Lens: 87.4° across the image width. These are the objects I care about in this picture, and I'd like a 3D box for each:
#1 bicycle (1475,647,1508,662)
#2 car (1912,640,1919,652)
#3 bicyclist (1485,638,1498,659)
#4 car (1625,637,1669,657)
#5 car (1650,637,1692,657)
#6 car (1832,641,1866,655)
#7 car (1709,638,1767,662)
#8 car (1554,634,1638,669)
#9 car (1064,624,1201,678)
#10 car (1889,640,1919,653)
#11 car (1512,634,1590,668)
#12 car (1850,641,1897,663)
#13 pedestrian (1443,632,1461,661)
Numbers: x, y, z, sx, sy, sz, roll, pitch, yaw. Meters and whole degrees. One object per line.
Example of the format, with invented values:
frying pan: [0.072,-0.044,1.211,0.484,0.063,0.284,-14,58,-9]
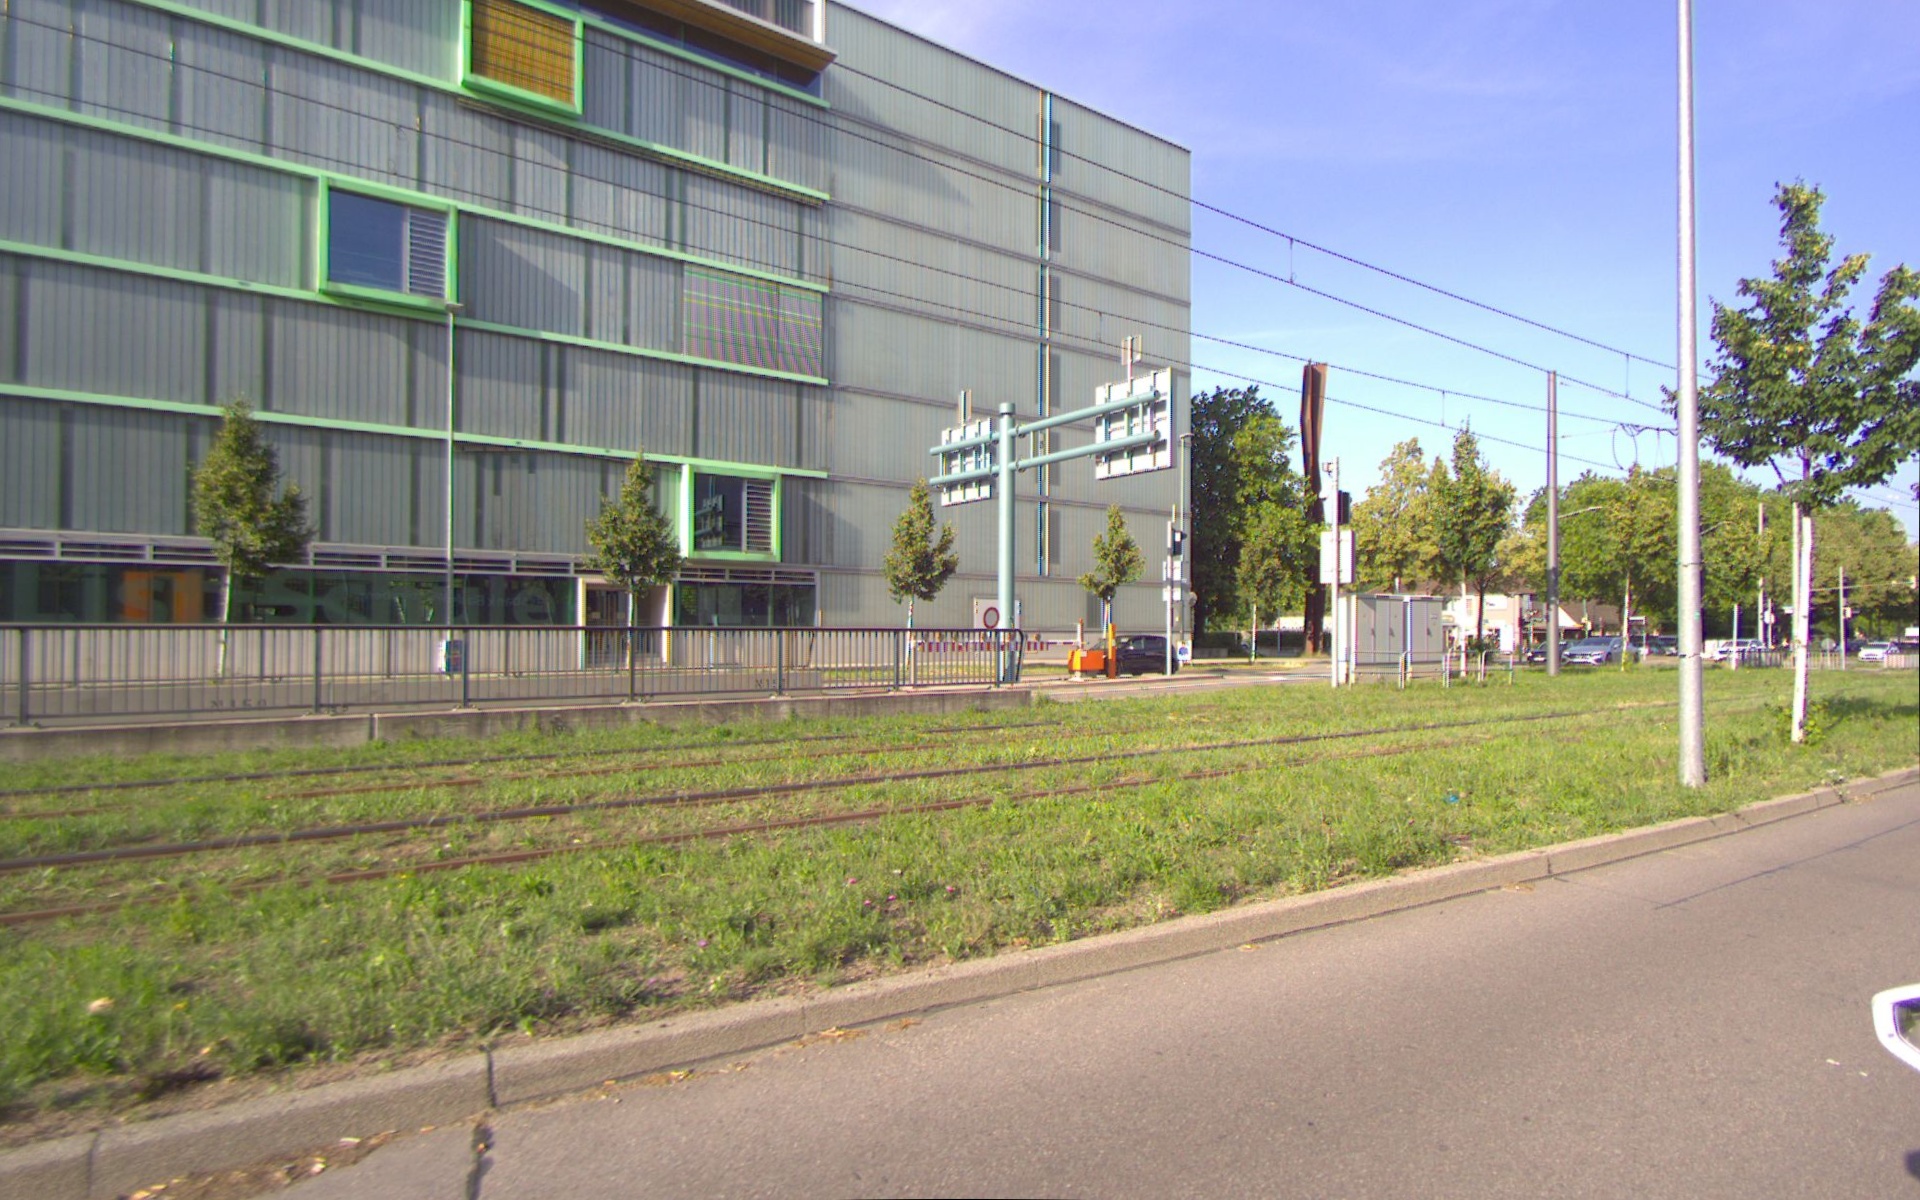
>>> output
bicycle: [39.914,4.081,75.440,2.164,1.055,0.698,0,-2,33]
car: [126.207,6.068,131.112,3.953,1.580,1.872,2,-2,-30]
bicyclist: [39.933,3.620,75.445,0.835,1.512,0.698,0,-2,32]
car: [63.746,4.366,93.220,3.953,1.773,1.872,2,-2,-30]
car: [67.760,4.466,95.694,3.953,1.773,1.872,2,-2,-30]
car: [104.540,5.697,118.114,3.953,1.580,1.872,2,-2,-30]
car: [51.606,3.293,66.583,4.398,1.548,1.893,1,-1,-36]
car: [30.330,2.428,47.868,4.873,1.547,1.978,2,-5,-40]
car: [5.992,1.709,34.612,4.681,1.709,1.980,1,-2,-36]
car: [119.467,5.902,127.080,3.953,1.580,1.872,2,-2,-30]
car: [31.594,2.676,53.694,4.572,1.709,1.980,1,-2,-36]
car: [67.879,3.819,74.621,4.274,1.548,1.978,1,-2,-39]
pedestrian: [35.624,3.360,72.709,0.865,2.135,0.723,0,-3,-6]
